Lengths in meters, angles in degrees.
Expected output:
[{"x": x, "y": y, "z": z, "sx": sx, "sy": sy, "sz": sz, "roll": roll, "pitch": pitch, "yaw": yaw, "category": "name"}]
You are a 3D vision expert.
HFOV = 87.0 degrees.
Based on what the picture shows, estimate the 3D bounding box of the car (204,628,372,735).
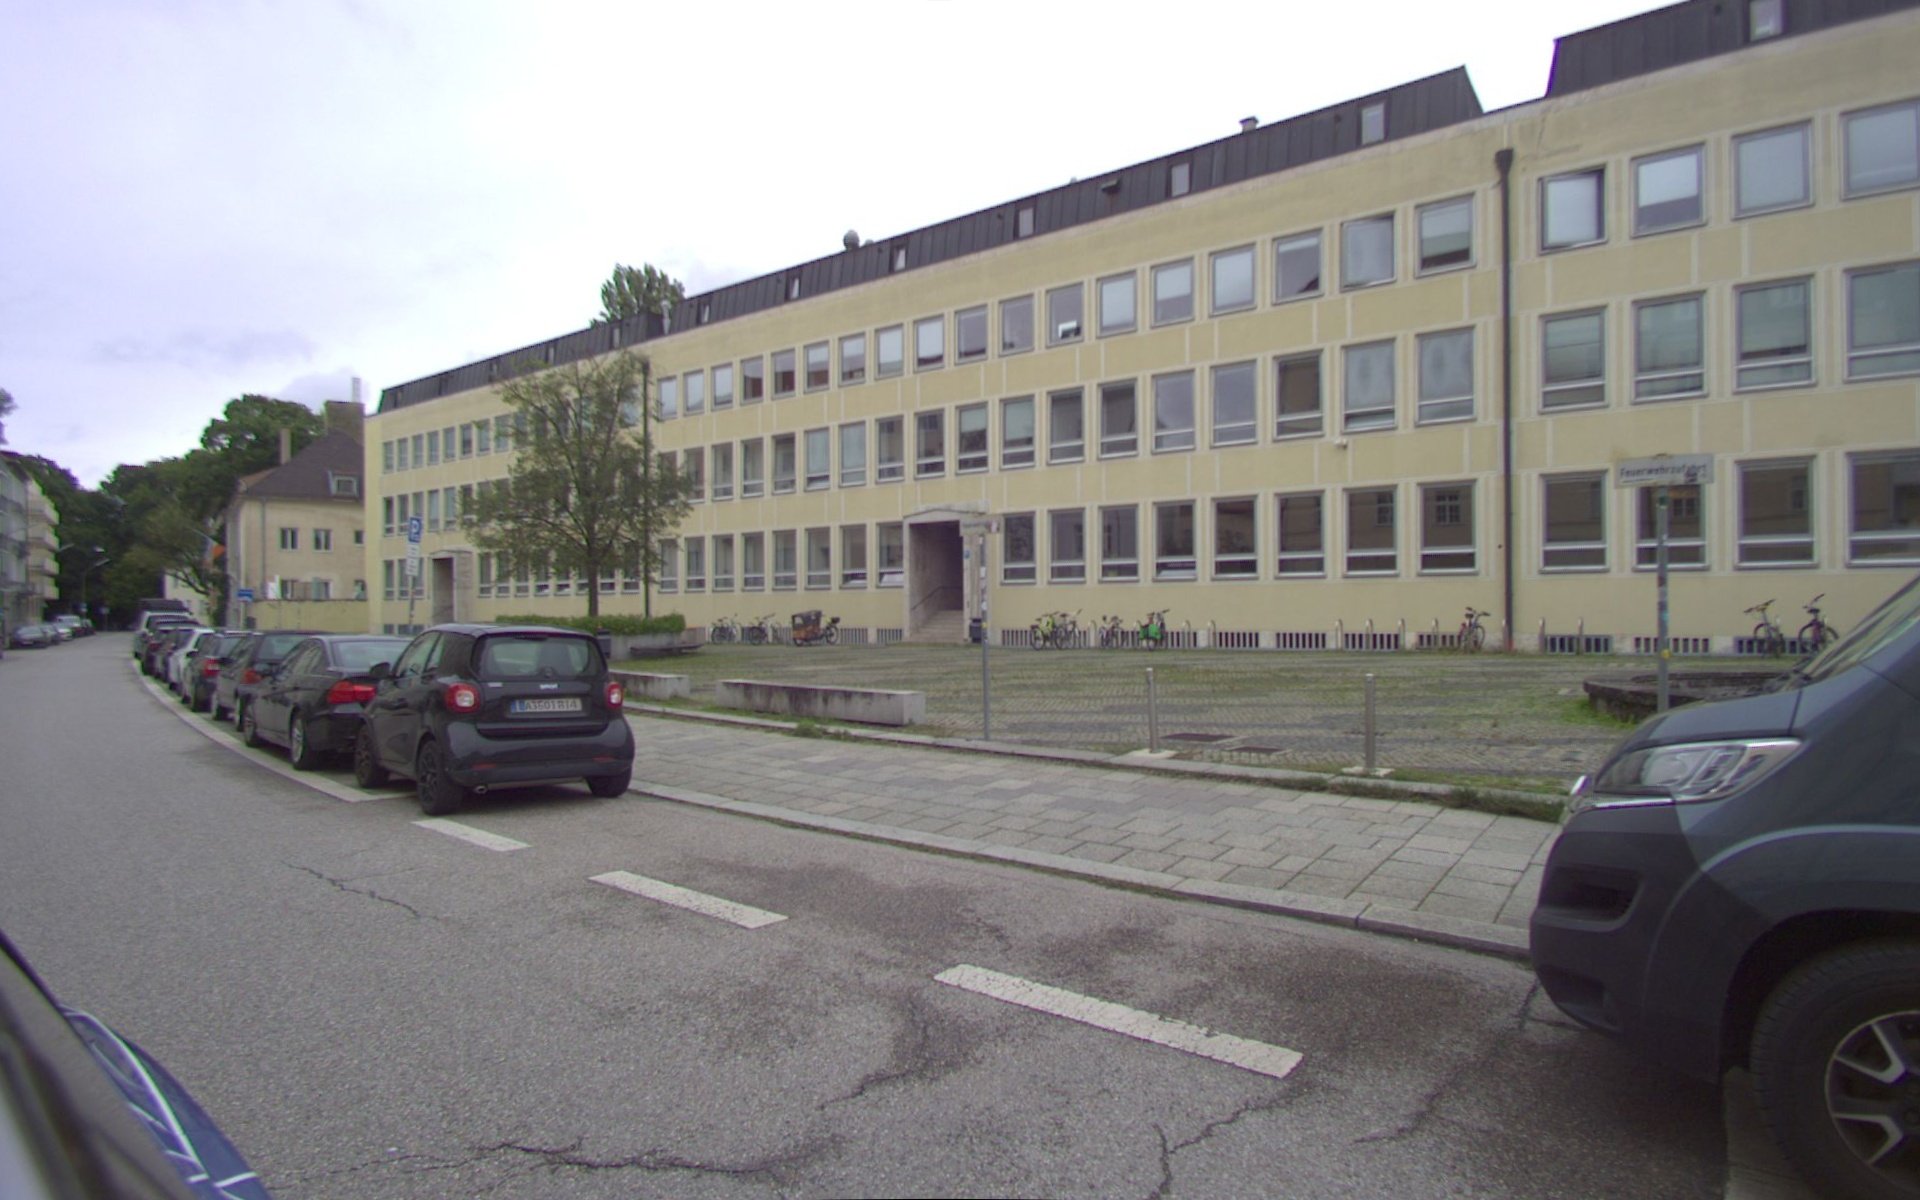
[{"x": -10.402, "y": 1.167, "z": 15.578, "sx": 1.636, "sy": 1.465, "sz": 3.316, "roll": 2, "pitch": -3, "yaw": -42, "category": "car"}]

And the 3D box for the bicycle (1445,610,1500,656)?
[{"x": 12.242, "y": 0.773, "z": 24.126, "sx": 0.625, "sy": 1.022, "sz": 1.925, "roll": -2, "pitch": -1, "yaw": 43, "category": "bicycle"}]

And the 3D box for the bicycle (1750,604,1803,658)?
[{"x": 16.554, "y": 0.609, "z": 20.547, "sx": 0.624, "sy": 1.022, "sz": 1.931, "roll": -2, "pitch": -1, "yaw": 33, "category": "bicycle"}]

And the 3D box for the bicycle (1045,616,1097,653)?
[{"x": 3.310, "y": 1.018, "z": 30.052, "sx": 0.624, "sy": 1.022, "sz": 1.929, "roll": -2, "pitch": -1, "yaw": 36, "category": "bicycle"}]

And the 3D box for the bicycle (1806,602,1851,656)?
[{"x": 17.452, "y": 0.574, "z": 20.362, "sx": 0.625, "sy": 1.022, "sz": 1.927, "roll": -2, "pitch": -1, "yaw": 40, "category": "bicycle"}]

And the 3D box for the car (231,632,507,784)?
[{"x": -7.051, "y": 1.100, "z": 11.847, "sx": 1.778, "sy": 1.416, "sz": 4.459, "roll": 2, "pitch": -3, "yaw": -44, "category": "car"}]

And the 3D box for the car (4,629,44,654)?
[{"x": -58.168, "y": 2.552, "z": 62.924, "sx": 1.758, "sy": 1.404, "sz": 4.251, "roll": 0, "pitch": -1, "yaw": -42, "category": "car"}]

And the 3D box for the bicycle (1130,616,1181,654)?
[{"x": 5.528, "y": 0.970, "z": 28.511, "sx": 0.624, "sy": 1.022, "sz": 1.929, "roll": -2, "pitch": -1, "yaw": 36, "category": "bicycle"}]

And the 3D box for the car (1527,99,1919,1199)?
[{"x": 4.599, "y": 0.159, "z": 1.809, "sx": 6.006, "sy": 2.662, "sz": 2.144, "roll": -2, "pitch": -2, "yaw": 37, "category": "car"}]

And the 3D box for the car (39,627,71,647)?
[{"x": -71.379, "y": 2.875, "z": 79.878, "sx": 1.739, "sy": 1.468, "sz": 3.754, "roll": -1, "pitch": -1, "yaw": -40, "category": "car"}]

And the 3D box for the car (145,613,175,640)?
[{"x": -76.171, "y": 2.488, "z": 96.424, "sx": 2.072, "sy": 2.450, "sz": 4.559, "roll": -1, "pitch": -1, "yaw": -37, "category": "car"}]

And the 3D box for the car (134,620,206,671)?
[{"x": -27.831, "y": 1.589, "z": 35.608, "sx": 1.722, "sy": 1.679, "sz": 4.456, "roll": 4, "pitch": -4, "yaw": -40, "category": "car"}]

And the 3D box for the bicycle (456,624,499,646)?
[{"x": -24.460, "y": 1.747, "z": 51.288, "sx": 0.579, "sy": 1.022, "sz": 1.931, "roll": -2, "pitch": 0, "yaw": 33, "category": "bicycle"}]

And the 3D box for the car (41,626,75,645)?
[{"x": -75.549, "y": 2.948, "z": 84.791, "sx": 1.738, "sy": 1.468, "sz": 3.756, "roll": -1, "pitch": -1, "yaw": -36, "category": "car"}]

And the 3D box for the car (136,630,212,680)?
[{"x": -24.445, "y": 1.663, "z": 31.432, "sx": 1.659, "sy": 1.465, "sz": 3.876, "roll": 2, "pitch": -3, "yaw": -40, "category": "car"}]

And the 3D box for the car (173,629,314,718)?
[{"x": -13.502, "y": 1.293, "z": 18.973, "sx": 1.733, "sy": 1.465, "sz": 4.402, "roll": 2, "pitch": -3, "yaw": -41, "category": "car"}]

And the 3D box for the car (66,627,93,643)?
[{"x": -90.600, "y": 3.591, "z": 104.122, "sx": 1.843, "sy": 1.475, "sz": 4.276, "roll": -1, "pitch": -1, "yaw": -38, "category": "car"}]

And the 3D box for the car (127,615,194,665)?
[{"x": -34.272, "y": 1.669, "z": 43.333, "sx": 1.905, "sy": 1.994, "sz": 5.028, "roll": 1, "pitch": -2, "yaw": -42, "category": "car"}]

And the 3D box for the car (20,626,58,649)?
[{"x": -63.997, "y": 2.566, "z": 70.358, "sx": 1.739, "sy": 1.468, "sz": 3.754, "roll": -1, "pitch": -1, "yaw": -40, "category": "car"}]

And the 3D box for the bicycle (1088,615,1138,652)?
[{"x": 4.485, "y": 0.975, "z": 29.572, "sx": 0.624, "sy": 1.022, "sz": 1.929, "roll": -2, "pitch": -1, "yaw": 36, "category": "bicycle"}]

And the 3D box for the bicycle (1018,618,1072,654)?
[{"x": 2.572, "y": 1.059, "z": 30.437, "sx": 0.625, "sy": 1.022, "sz": 1.927, "roll": -2, "pitch": -1, "yaw": 40, "category": "bicycle"}]

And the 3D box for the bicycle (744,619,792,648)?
[{"x": -7.297, "y": 1.271, "z": 38.502, "sx": 0.624, "sy": 1.022, "sz": 1.931, "roll": -2, "pitch": -1, "yaw": 33, "category": "bicycle"}]

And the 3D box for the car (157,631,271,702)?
[{"x": -17.123, "y": 1.453, "z": 23.154, "sx": 1.636, "sy": 1.465, "sz": 4.077, "roll": 2, "pitch": -3, "yaw": -42, "category": "car"}]

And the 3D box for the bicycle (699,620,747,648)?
[{"x": -9.303, "y": 1.318, "z": 39.794, "sx": 0.624, "sy": 1.022, "sz": 1.931, "roll": -2, "pitch": -1, "yaw": 33, "category": "bicycle"}]

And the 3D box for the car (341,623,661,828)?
[{"x": -4.205, "y": 0.976, "z": 9.123, "sx": 2.979, "sy": 1.513, "sz": 1.651, "roll": -2, "pitch": -3, "yaw": 45, "category": "car"}]

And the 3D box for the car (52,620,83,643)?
[{"x": -80.836, "y": 2.833, "z": 91.699, "sx": 1.843, "sy": 2.029, "sz": 4.276, "roll": -1, "pitch": -1, "yaw": -38, "category": "car"}]

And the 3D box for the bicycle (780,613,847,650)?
[{"x": -5.302, "y": 1.118, "z": 36.796, "sx": 1.054, "sy": 1.258, "sz": 2.415, "roll": -2, "pitch": -1, "yaw": 33, "category": "bicycle"}]

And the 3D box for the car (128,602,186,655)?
[{"x": -42.526, "y": 1.501, "z": 53.667, "sx": 2.267, "sy": 2.666, "sz": 5.664, "roll": 1, "pitch": -2, "yaw": -38, "category": "car"}]

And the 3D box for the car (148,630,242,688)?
[{"x": -20.921, "y": 1.555, "z": 27.622, "sx": 1.636, "sy": 1.465, "sz": 3.978, "roll": 2, "pitch": -3, "yaw": -42, "category": "car"}]

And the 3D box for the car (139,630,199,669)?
[{"x": -31.113, "y": 1.896, "z": 39.771, "sx": 1.722, "sy": 1.398, "sz": 3.925, "roll": -1, "pitch": 0, "yaw": -40, "category": "car"}]
